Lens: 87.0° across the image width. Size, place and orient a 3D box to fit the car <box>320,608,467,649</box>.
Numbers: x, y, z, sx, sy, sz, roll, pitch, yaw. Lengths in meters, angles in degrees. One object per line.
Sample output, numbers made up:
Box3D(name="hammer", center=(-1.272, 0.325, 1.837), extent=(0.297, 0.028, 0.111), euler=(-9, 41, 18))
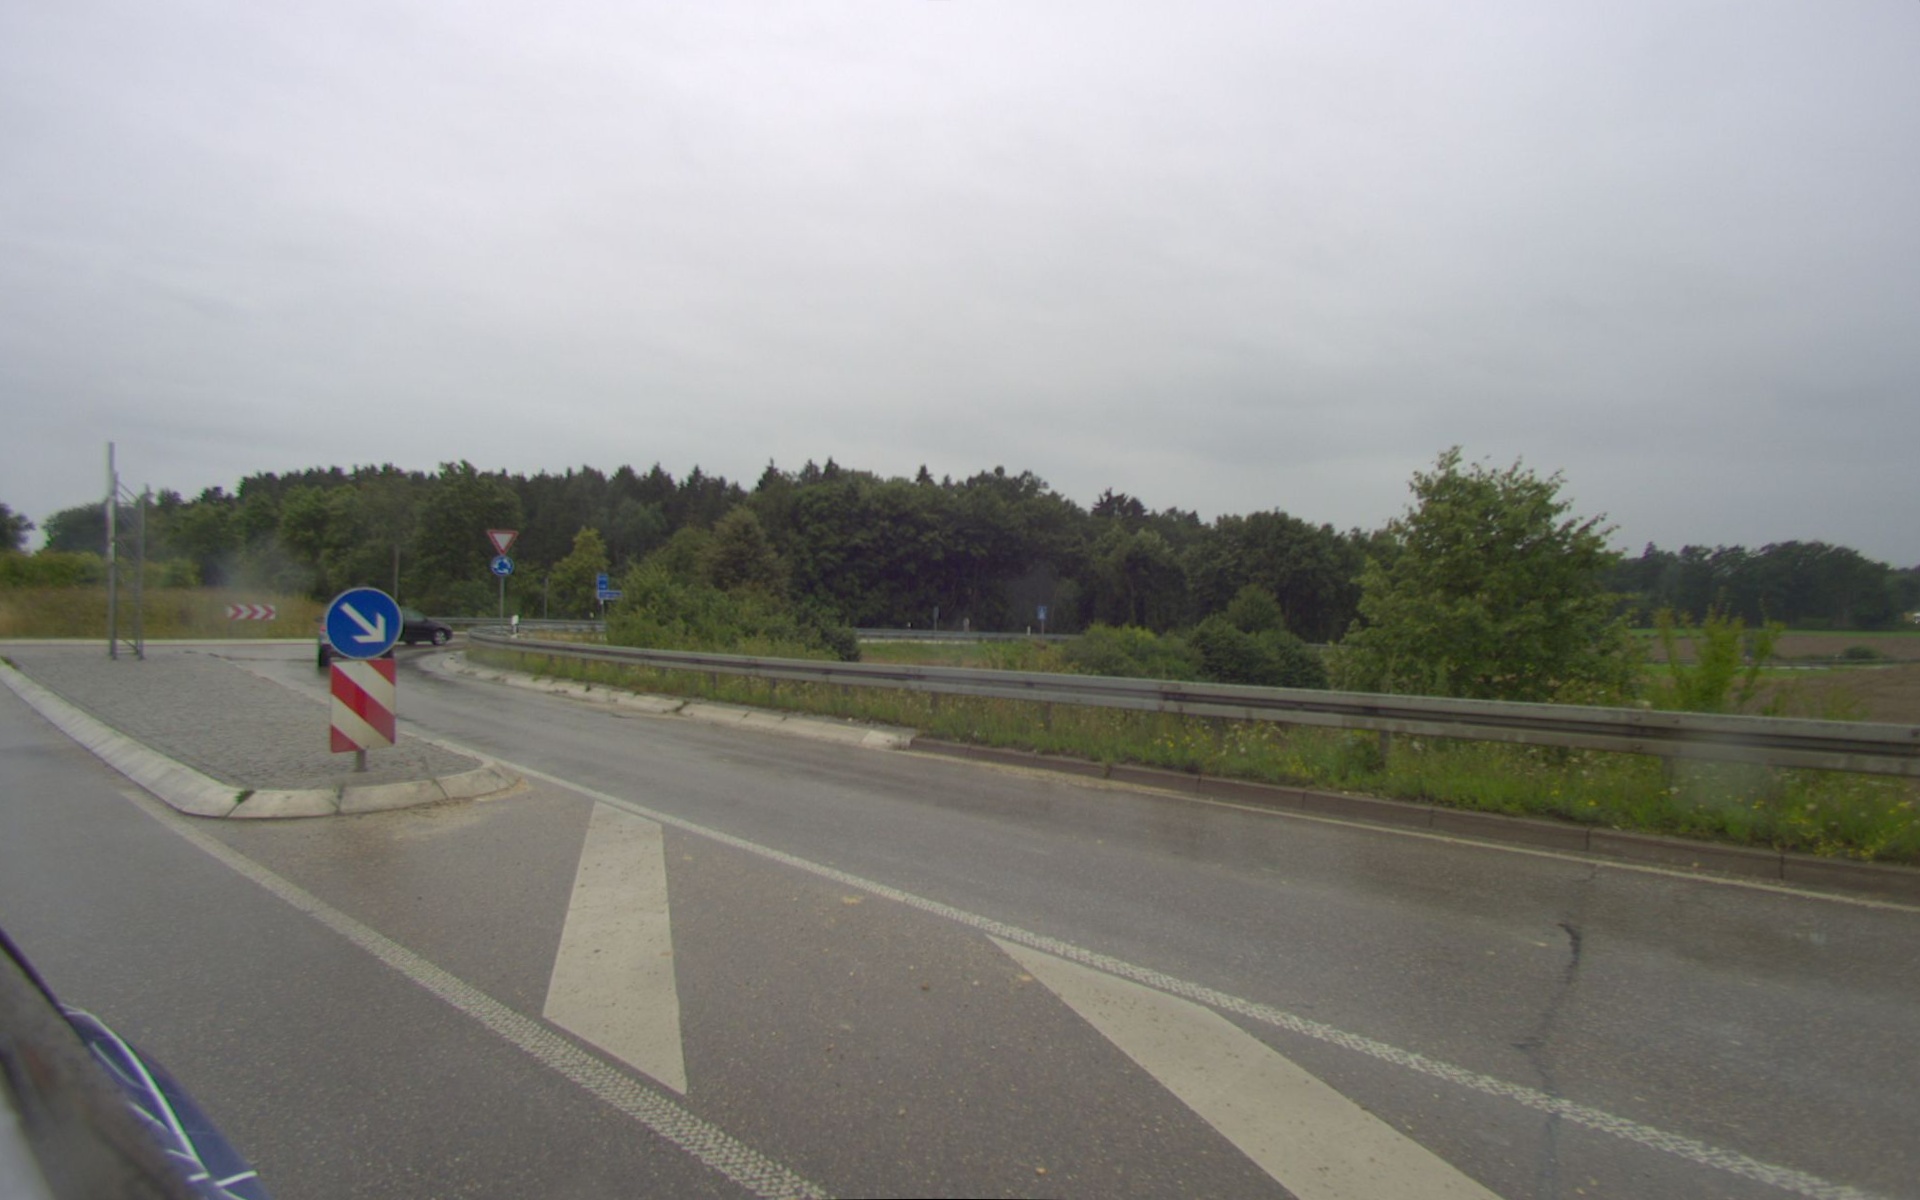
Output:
Box3D(name="car", center=(-20.982, 1.064, 37.683), extent=(1.866, 1.432, 4.459), euler=(-1, -2, 29))

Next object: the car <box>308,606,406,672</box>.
Box3D(name="car", center=(-16.231, 0.985, 27.433), extent=(1.775, 1.587, 4.013), euler=(0, 0, -23))
